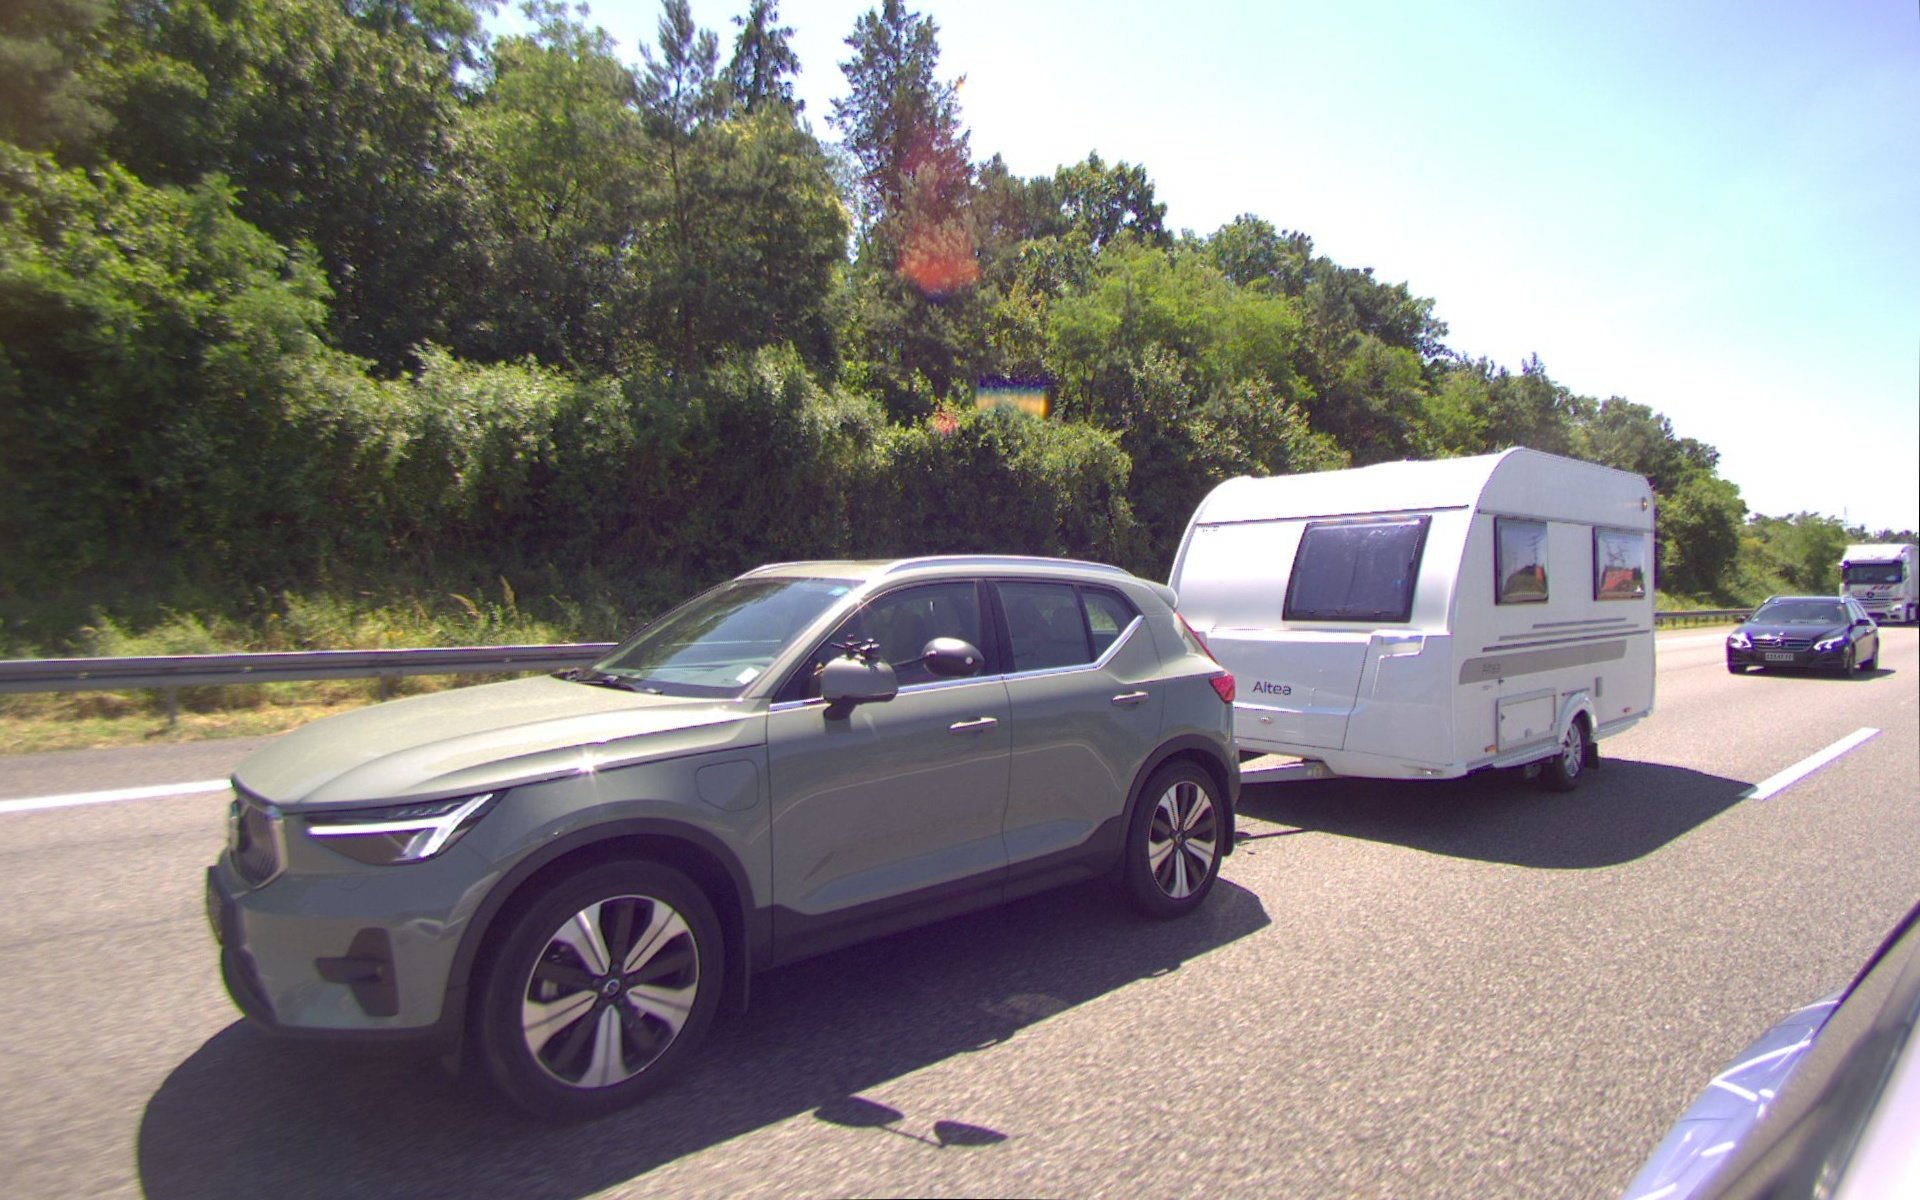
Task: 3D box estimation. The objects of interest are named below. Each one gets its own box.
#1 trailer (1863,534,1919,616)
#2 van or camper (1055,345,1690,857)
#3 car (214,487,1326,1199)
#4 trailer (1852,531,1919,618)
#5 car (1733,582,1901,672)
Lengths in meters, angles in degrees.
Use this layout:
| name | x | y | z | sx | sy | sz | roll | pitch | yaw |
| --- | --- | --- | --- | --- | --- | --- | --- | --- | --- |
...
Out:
| name | x | y | z | sx | sy | sz | roll | pitch | yaw |
| --- | --- | --- | --- | --- | --- | --- | --- | --- | --- |
| trailer | 52.705 | -1.311 | 56.046 | 12.964 | 4.154 | 2.732 | 0 | 1 | -42 |
| van or camper | 3.794 | -0.031 | 8.387 | 6.242 | 2.708 | 2.442 | 0 | 1 | -43 |
| car | -0.398 | 0.539 | 4.541 | 4.621 | 1.632 | 1.882 | 0 | 1 | -42 |
| trailer | 47.607 | -1.272 | 51.375 | 6.673 | 4.154 | 2.717 | 0 | 1 | -42 |
| car | 16.870 | 0.435 | 19.839 | 4.656 | 1.524 | 1.844 | -1 | 1 | -41 |
